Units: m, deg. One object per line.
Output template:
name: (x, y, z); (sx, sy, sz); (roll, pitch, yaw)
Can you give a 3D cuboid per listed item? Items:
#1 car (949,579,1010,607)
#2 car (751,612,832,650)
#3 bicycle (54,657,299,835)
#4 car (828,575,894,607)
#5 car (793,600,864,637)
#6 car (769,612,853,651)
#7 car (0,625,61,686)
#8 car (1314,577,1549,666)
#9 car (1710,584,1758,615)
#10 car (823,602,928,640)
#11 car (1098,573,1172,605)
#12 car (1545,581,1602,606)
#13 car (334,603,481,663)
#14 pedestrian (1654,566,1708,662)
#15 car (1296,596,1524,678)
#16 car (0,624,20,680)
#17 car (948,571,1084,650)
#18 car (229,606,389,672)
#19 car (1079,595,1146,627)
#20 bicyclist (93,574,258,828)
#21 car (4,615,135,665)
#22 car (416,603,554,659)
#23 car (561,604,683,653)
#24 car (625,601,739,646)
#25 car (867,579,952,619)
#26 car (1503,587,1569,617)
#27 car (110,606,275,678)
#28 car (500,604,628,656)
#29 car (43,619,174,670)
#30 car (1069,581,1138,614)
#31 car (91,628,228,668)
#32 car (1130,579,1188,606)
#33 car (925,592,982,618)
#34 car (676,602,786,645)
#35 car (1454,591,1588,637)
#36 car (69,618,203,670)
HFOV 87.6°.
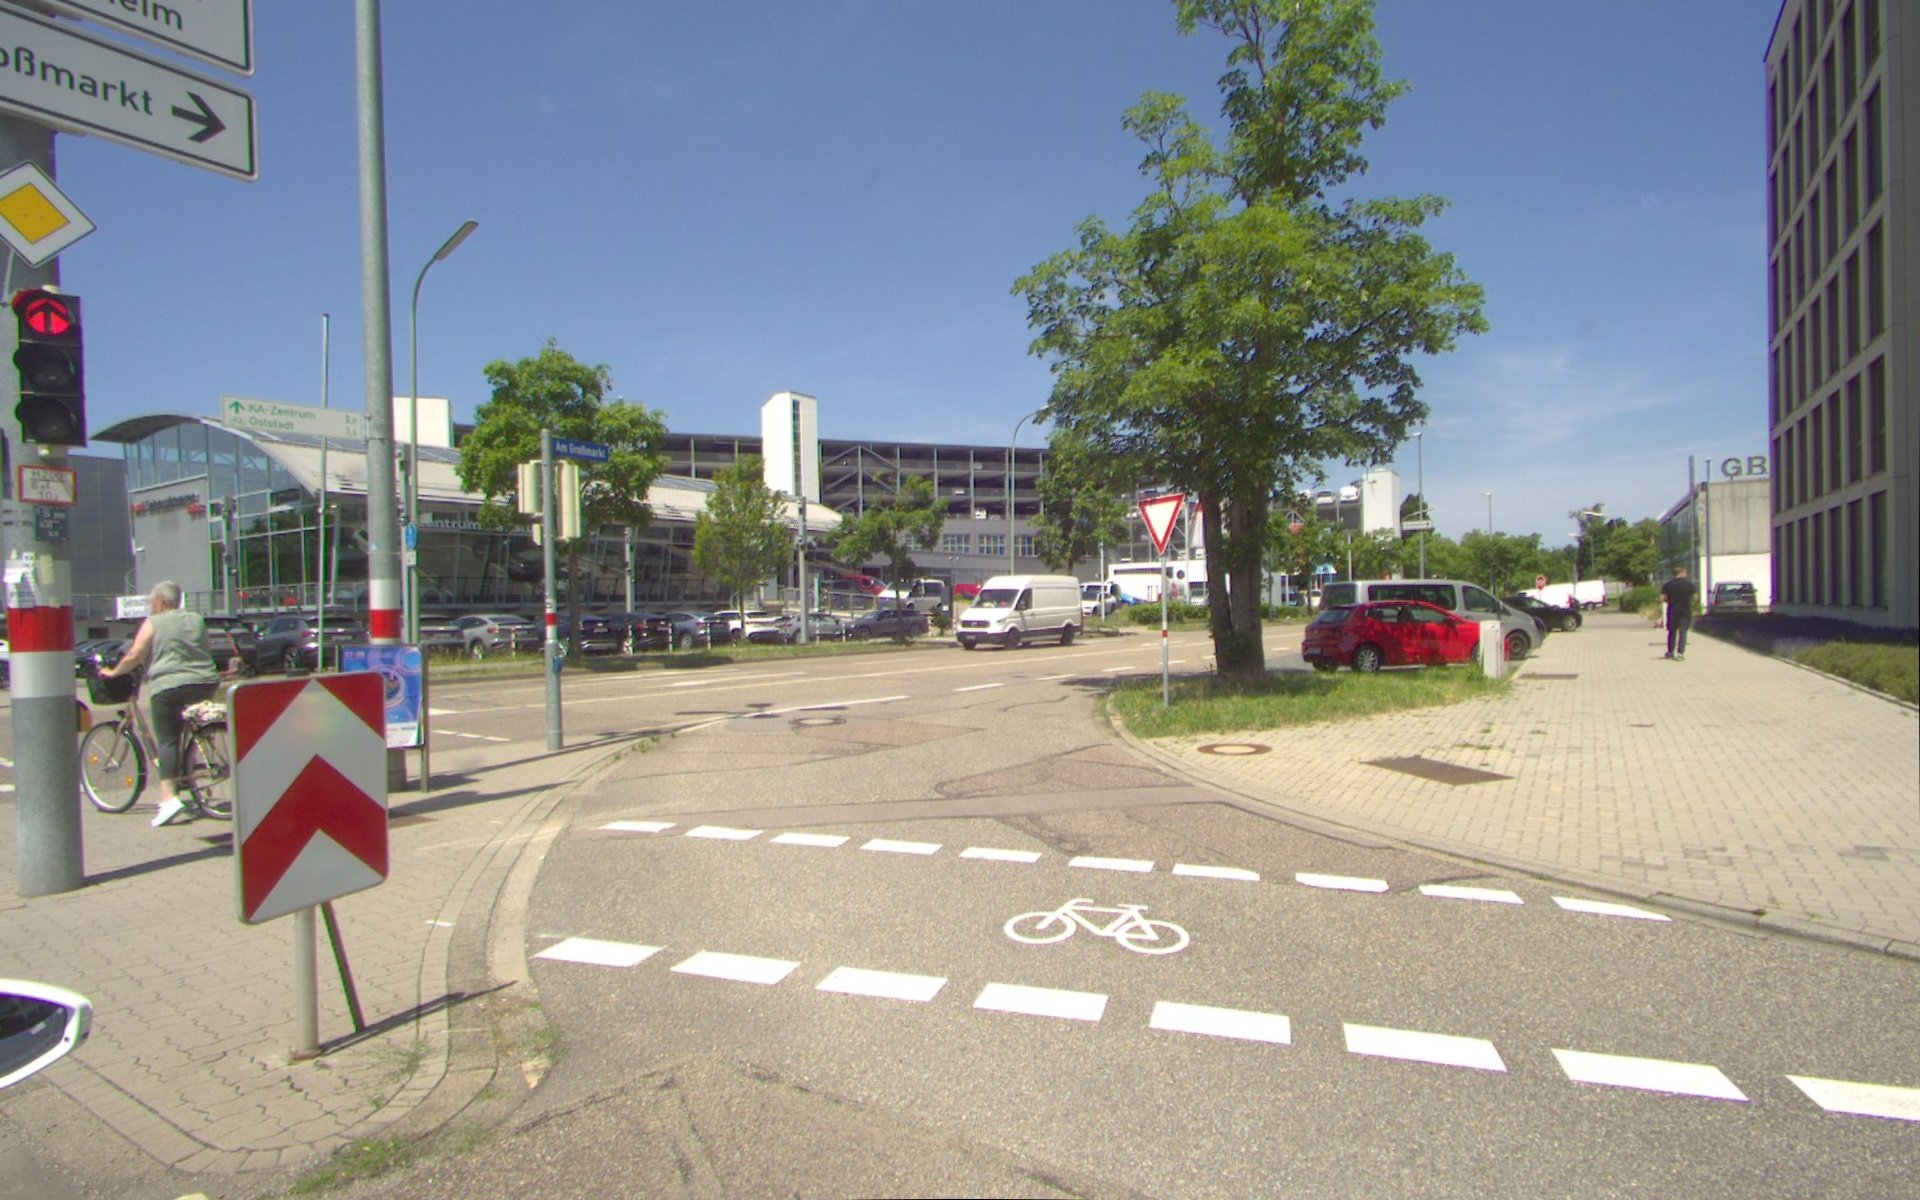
car: (1.506, -0.514, 77.808); (4.286, 2.040, 1.990); (-1, 0, 30)
car: (-8.669, 1.575, 51.503); (3.712, 1.795, 1.761); (-1, 0, -28)
bicycle: (-5.935, 1.033, 7.567); (1.891, 1.142, 0.786); (0, 0, 29)
car: (-6.654, -0.593, 67.383); (3.937, 2.040, 1.992); (-1, 0, 27)
car: (-7.589, 1.041, 58.017); (1.839, 2.040, 3.733); (-1, 0, 41)
car: (-7.327, 1.516, 49.279); (3.659, 1.801, 1.739); (-1, 0, -31)
car: (-25.098, 1.398, 24.169); (1.973, 1.476, 4.729); (0, 0, 34)
car: (10.896, 0.478, 23.247); (4.814, 1.839, 1.704); (-2, 0, -10)
car: (42.106, -0.035, 54.546); (1.765, 1.542, 3.556); (-2, 0, 33)
car: (-4.003, 0.944, 47.601); (4.702, 1.662, 1.821); (-1, 1, -35)
car: (12.005, -0.749, 68.892); (4.578, 2.040, 1.989); (-1, 0, 32)
car: (55.233, -0.543, 90.170); (4.304, 2.149, 2.080); (-1, 0, 36)
car: (-16.620, 0.961, 30.087); (4.377, 1.661, 1.989); (-1, 1, 32)
pedestrian: (14.542, 0.281, 20.194); (0.764, 1.869, 0.861); (-2, 0, 40)
car: (8.985, 0.703, 20.129); (3.924, 1.454, 1.609); (-2, 0, -8)
car: (-27.375, 1.430, 25.488); (1.973, 1.476, 4.729); (-2, -1, 34)
car: (2.117, 0.351, 35.660); (2.075, 2.567, 5.764); (0, 0, 36)
car: (-17.936, 1.027, 27.546); (4.492, 1.661, 1.989); (-1, 0, 32)
car: (10.177, 0.741, 66.789); (3.943, 2.040, 1.989); (-1, 0, 32)
bicyclist: (-5.852, 0.719, 7.490); (0.742, 1.772, 0.733); (0, 0, 28)
car: (-39.667, 1.760, 44.670); (1.972, 2.040, 3.977); (-1, 0, 33)
car: (-15.231, 0.959, 32.057); (4.460, 1.661, 1.881); (-1, 1, 32)
car: (-12.378, 1.025, 36.573); (4.410, 1.662, 1.823); (-1, 1, 32)
car: (-10.858, 0.902, 39.041); (4.410, 1.662, 1.823); (-1, 1, 32)
car: (-2.670, -0.071, 53.943); (1.972, 2.040, 5.117); (-1, 0, 32)
car: (41.690, 0.139, 72.504); (3.949, 2.040, 1.986); (-1, 0, 37)
car: (-19.432, 1.014, 25.324); (4.207, 1.661, 1.989); (-1, 0, 32)
car: (-13.645, 0.994, 34.435); (4.410, 1.662, 1.823); (-1, 1, 32)
car: (-37.290, 1.905, 43.951); (1.972, 2.040, 3.977); (-1, 0, 33)
car: (9.139, -0.142, 63.929); (3.943, 2.040, 1.840); (-1, 0, 32)
car: (-32.939, 1.926, 41.320); (1.694, 1.480, 4.083); (0, 0, 33)
car: (15.558, -0.555, 78.229); (3.945, 2.040, 1.988); (-1, 0, 34)
car: (-0.496, 0.375, 74.393); (3.943, 1.810, 1.730); (-1, 0, 32)
car: (-9.468, 0.945, 41.306); (4.410, 1.662, 1.823); (-1, 1, 32)
car: (21.593, 0.555, 38.652); (4.075, 1.558, 1.815); (-3, -1, 2)
car: (-34.913, 1.815, 42.517); (1.972, 2.040, 3.977); (-1, 0, 33)
